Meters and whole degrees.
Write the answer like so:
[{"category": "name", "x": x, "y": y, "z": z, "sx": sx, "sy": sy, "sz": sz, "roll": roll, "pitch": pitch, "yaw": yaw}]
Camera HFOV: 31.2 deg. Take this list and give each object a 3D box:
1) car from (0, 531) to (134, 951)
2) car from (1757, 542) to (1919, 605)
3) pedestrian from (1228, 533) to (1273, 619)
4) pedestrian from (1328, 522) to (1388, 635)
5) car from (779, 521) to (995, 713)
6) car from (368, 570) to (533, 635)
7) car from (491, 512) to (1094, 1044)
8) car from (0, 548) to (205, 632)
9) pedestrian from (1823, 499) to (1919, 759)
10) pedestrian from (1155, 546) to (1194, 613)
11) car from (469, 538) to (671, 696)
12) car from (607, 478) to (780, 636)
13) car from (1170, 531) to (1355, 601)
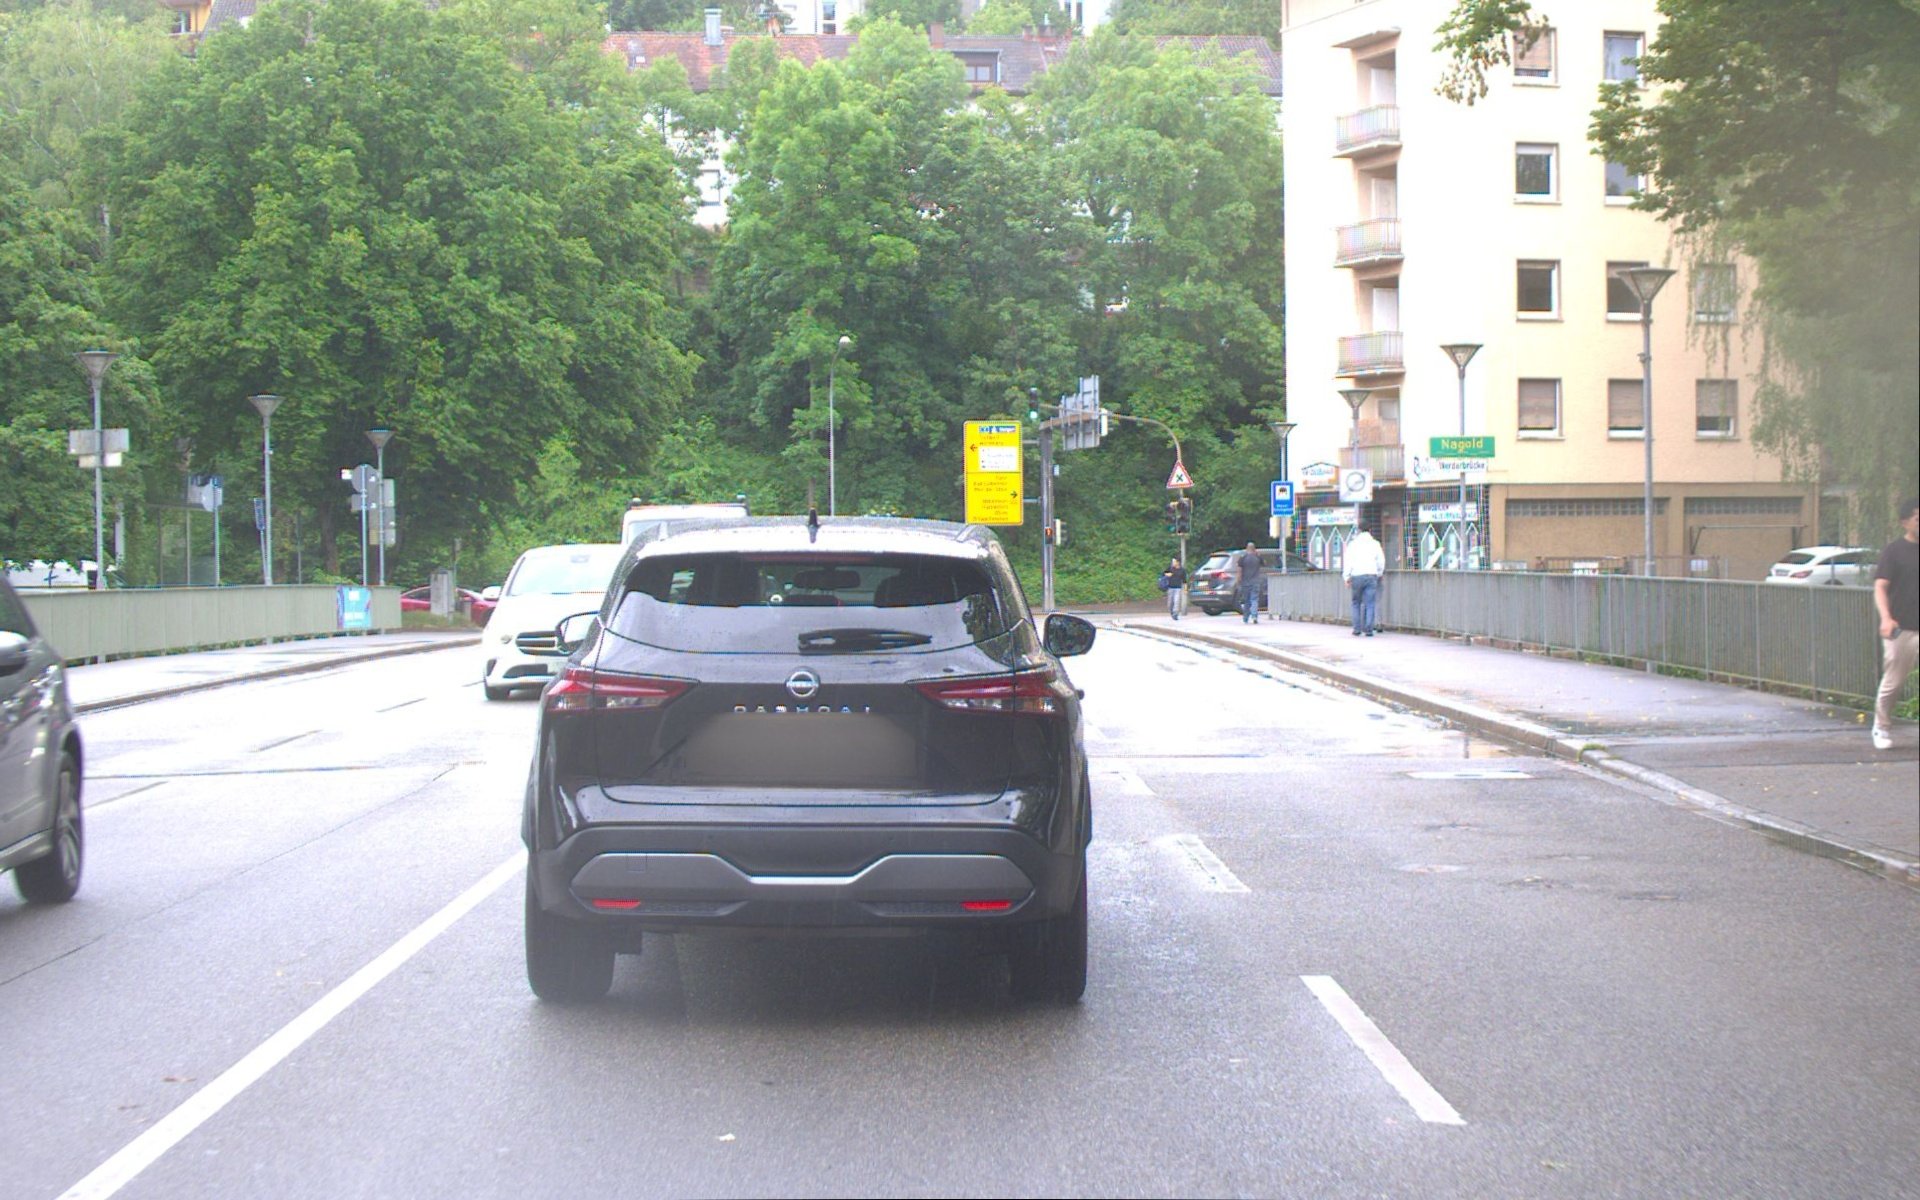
[{"category": "car", "x": -4.573, "y": 0.553, "z": 13.437, "sx": 1.813, "sy": 1.573, "sz": 4.232, "roll": -2, "pitch": 1, "yaw": -3}, {"category": "car", "x": 21.824, "y": -0.661, "z": 83.647, "sx": 4.438, "sy": 1.371, "sz": 1.818, "roll": -1, "pitch": 3, "yaw": -17}, {"category": "pedestrian", "x": 5.837, "y": -0.488, "z": 69.109, "sx": 0.761, "sy": 1.671, "sz": 0.781, "roll": -2, "pitch": 1, "yaw": 0}, {"category": "pedestrian", "x": 6.197, "y": -0.335, "z": 53.598, "sx": 0.779, "sy": 1.746, "sz": 1.061, "roll": -1, "pitch": 0, "yaw": -1}, {"category": "car", "x": -0.641, "y": 0.109, "z": 31.105, "sx": 1.811, "sy": 1.597, "sz": 4.000, "roll": 1, "pitch": 1, "yaw": -1}, {"category": "car", "x": -14.827, "y": 0.062, "z": 100.189, "sx": 4.358, "sy": 1.729, "sz": 1.894, "roll": -1, "pitch": 1, "yaw": 8}, {"category": "car", "x": -0.532, "y": 0.503, "z": 12.413, "sx": 1.811, "sy": 1.597, "sz": 4.000, "roll": 1, "pitch": 1, "yaw": -1}, {"category": "car", "x": -20.224, "y": -0.251, "z": 80.731, "sx": 4.741, "sy": 1.848, "sz": 2.001, "roll": 0, "pitch": 2, "yaw": -9}, {"category": "pedestrian", "x": 6.366, "y": 0.172, "z": 22.910, "sx": 0.847, "sy": 1.670, "sz": 1.168, "roll": -3, "pitch": 0, "yaw": -1}, {"category": "pedestrian", "x": 5.291, "y": -0.510, "z": 84.969, "sx": 0.862, "sy": 1.613, "sz": 0.839, "roll": -2, "pitch": 0, "yaw": 0}, {"category": "car", "x": -3.989, "y": 0.128, "z": 35.706, "sx": 1.781, "sy": 1.469, "sz": 4.167, "roll": -2, "pitch": 1, "yaw": -3}, {"category": "car", "x": -4.150, "y": -0.724, "z": 54.656, "sx": 2.289, "sy": 2.300, "sz": 6.510, "roll": -2, "pitch": 1, "yaw": -1}, {"category": "car", "x": 7.809, "y": -0.875, "z": 88.712, "sx": 4.366, "sy": 1.643, "sz": 1.884, "roll": -2, "pitch": 0, "yaw": -26}]
